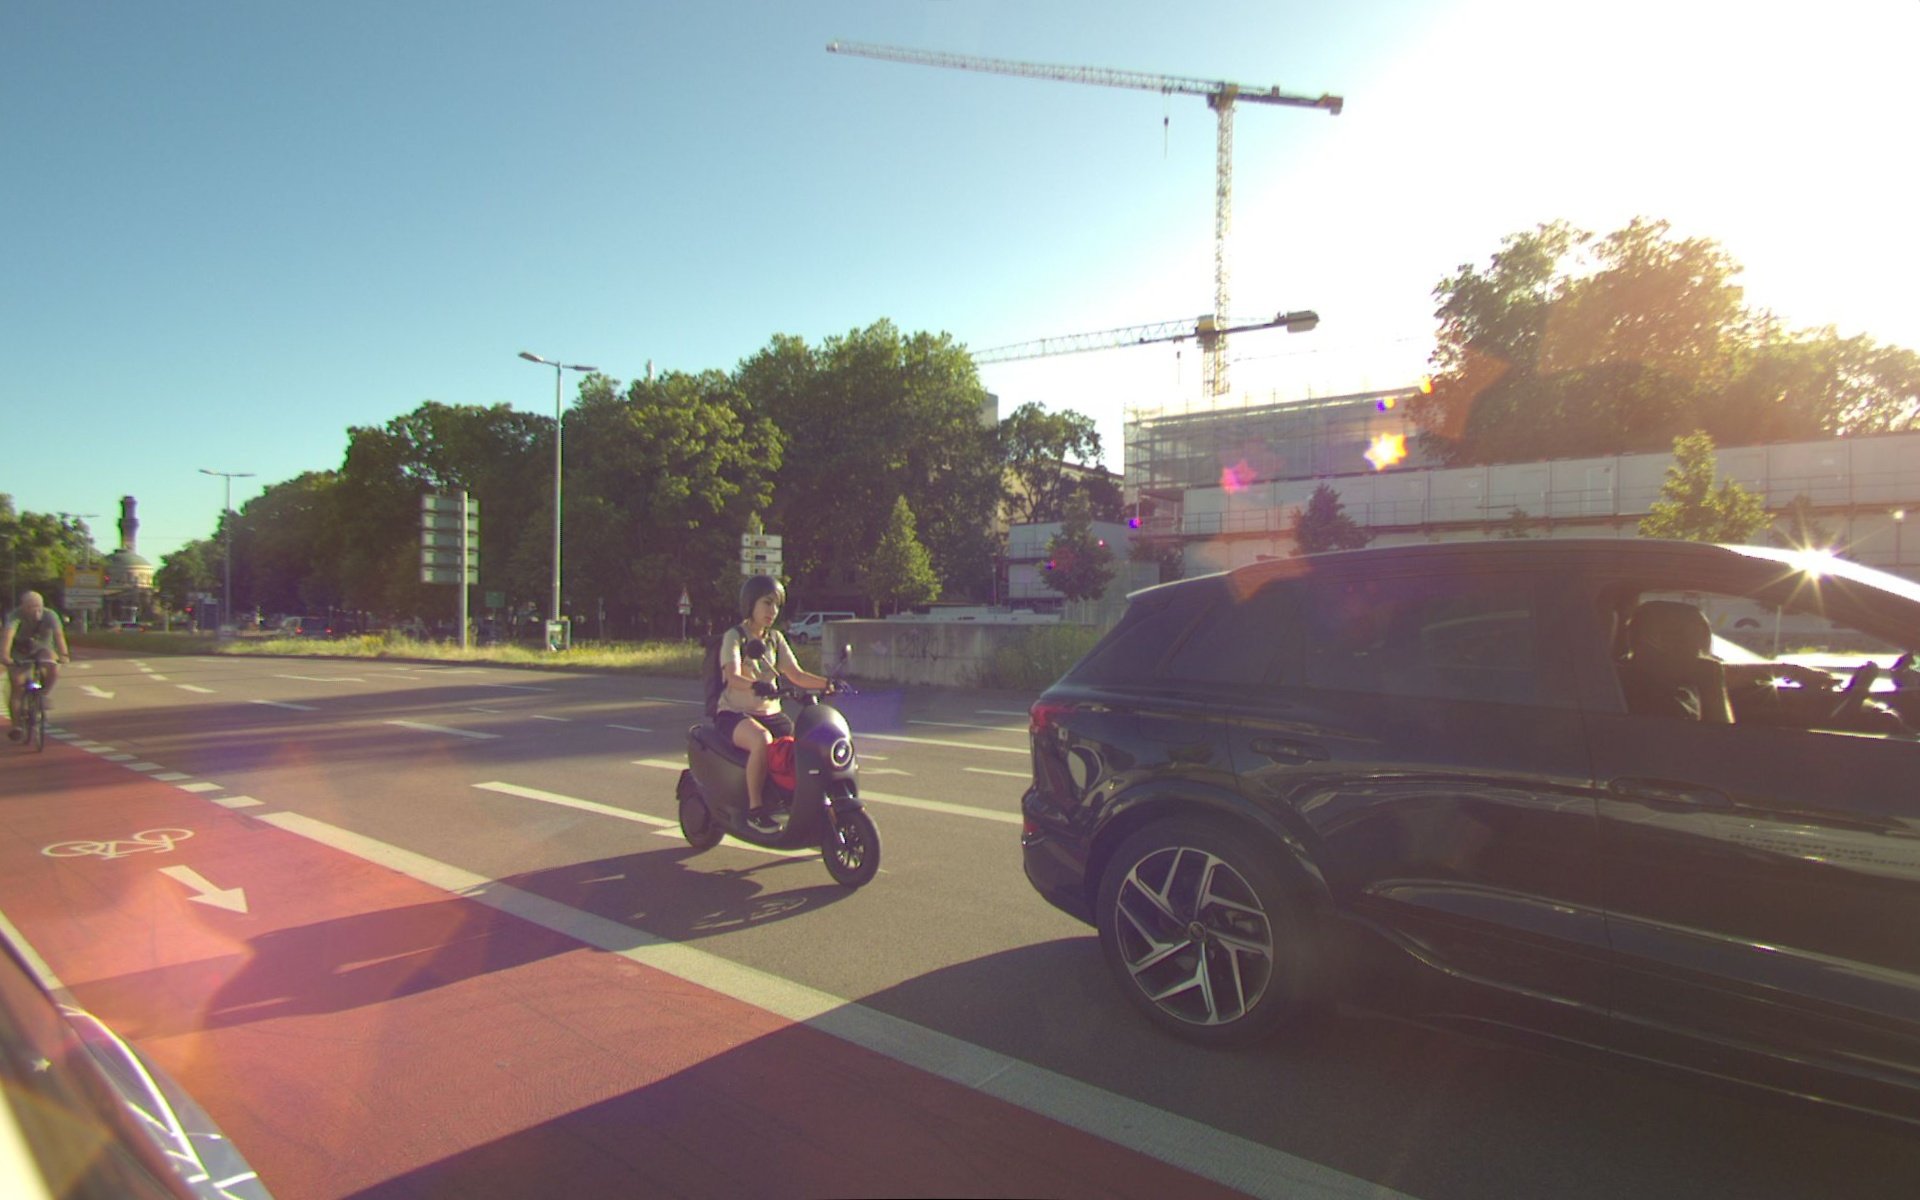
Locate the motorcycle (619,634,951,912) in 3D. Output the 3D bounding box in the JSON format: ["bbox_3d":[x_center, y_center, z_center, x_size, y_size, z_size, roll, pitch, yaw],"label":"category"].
[{"bbox_3d":[-1.041,0.844,5.720,1.943,1.290,0.817,-1,-2,41],"label":"motorcycle"}]

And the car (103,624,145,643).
[{"bbox_3d":[-60.953,2.429,73.777,3.941,1.387,1.705,-1,-2,41],"label":"car"}]

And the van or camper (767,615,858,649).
[{"bbox_3d":[-8.961,1.931,61.892,1.951,1.960,5.425,-2,-2,44],"label":"van or camper"}]

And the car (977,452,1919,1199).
[{"bbox_3d":[2.539,0.540,3.195,4.660,1.720,2.144,-1,-1,40],"label":"car"}]

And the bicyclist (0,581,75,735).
[{"bbox_3d":[-10.574,0.639,11.484,0.877,1.671,0.666,-1,-2,41],"label":"bicyclist"}]

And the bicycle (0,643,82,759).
[{"bbox_3d":[-10.512,1.097,11.428,1.505,1.201,0.680,-1,-2,41],"label":"bicycle"}]

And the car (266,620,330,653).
[{"bbox_3d":[-40.844,2.215,62.403,4.925,1.937,1.863,-1,-2,39],"label":"car"}]

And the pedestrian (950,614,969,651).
[{"bbox_3d":[-0.017,1.427,44.364,0.597,1.614,0.580,-1,0,38],"label":"pedestrian"}]

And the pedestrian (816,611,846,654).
[{"bbox_3d":[-6.084,1.512,47.790,0.815,1.978,1.111,-1,0,41],"label":"pedestrian"}]

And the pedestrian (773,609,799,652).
[{"bbox_3d":[-8.350,1.440,48.641,0.835,2.029,0.949,-1,0,24],"label":"pedestrian"}]

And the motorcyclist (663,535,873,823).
[{"bbox_3d":[-1.090,0.416,5.779,0.877,1.475,0.813,-1,-2,41],"label":"motorcyclist"}]
